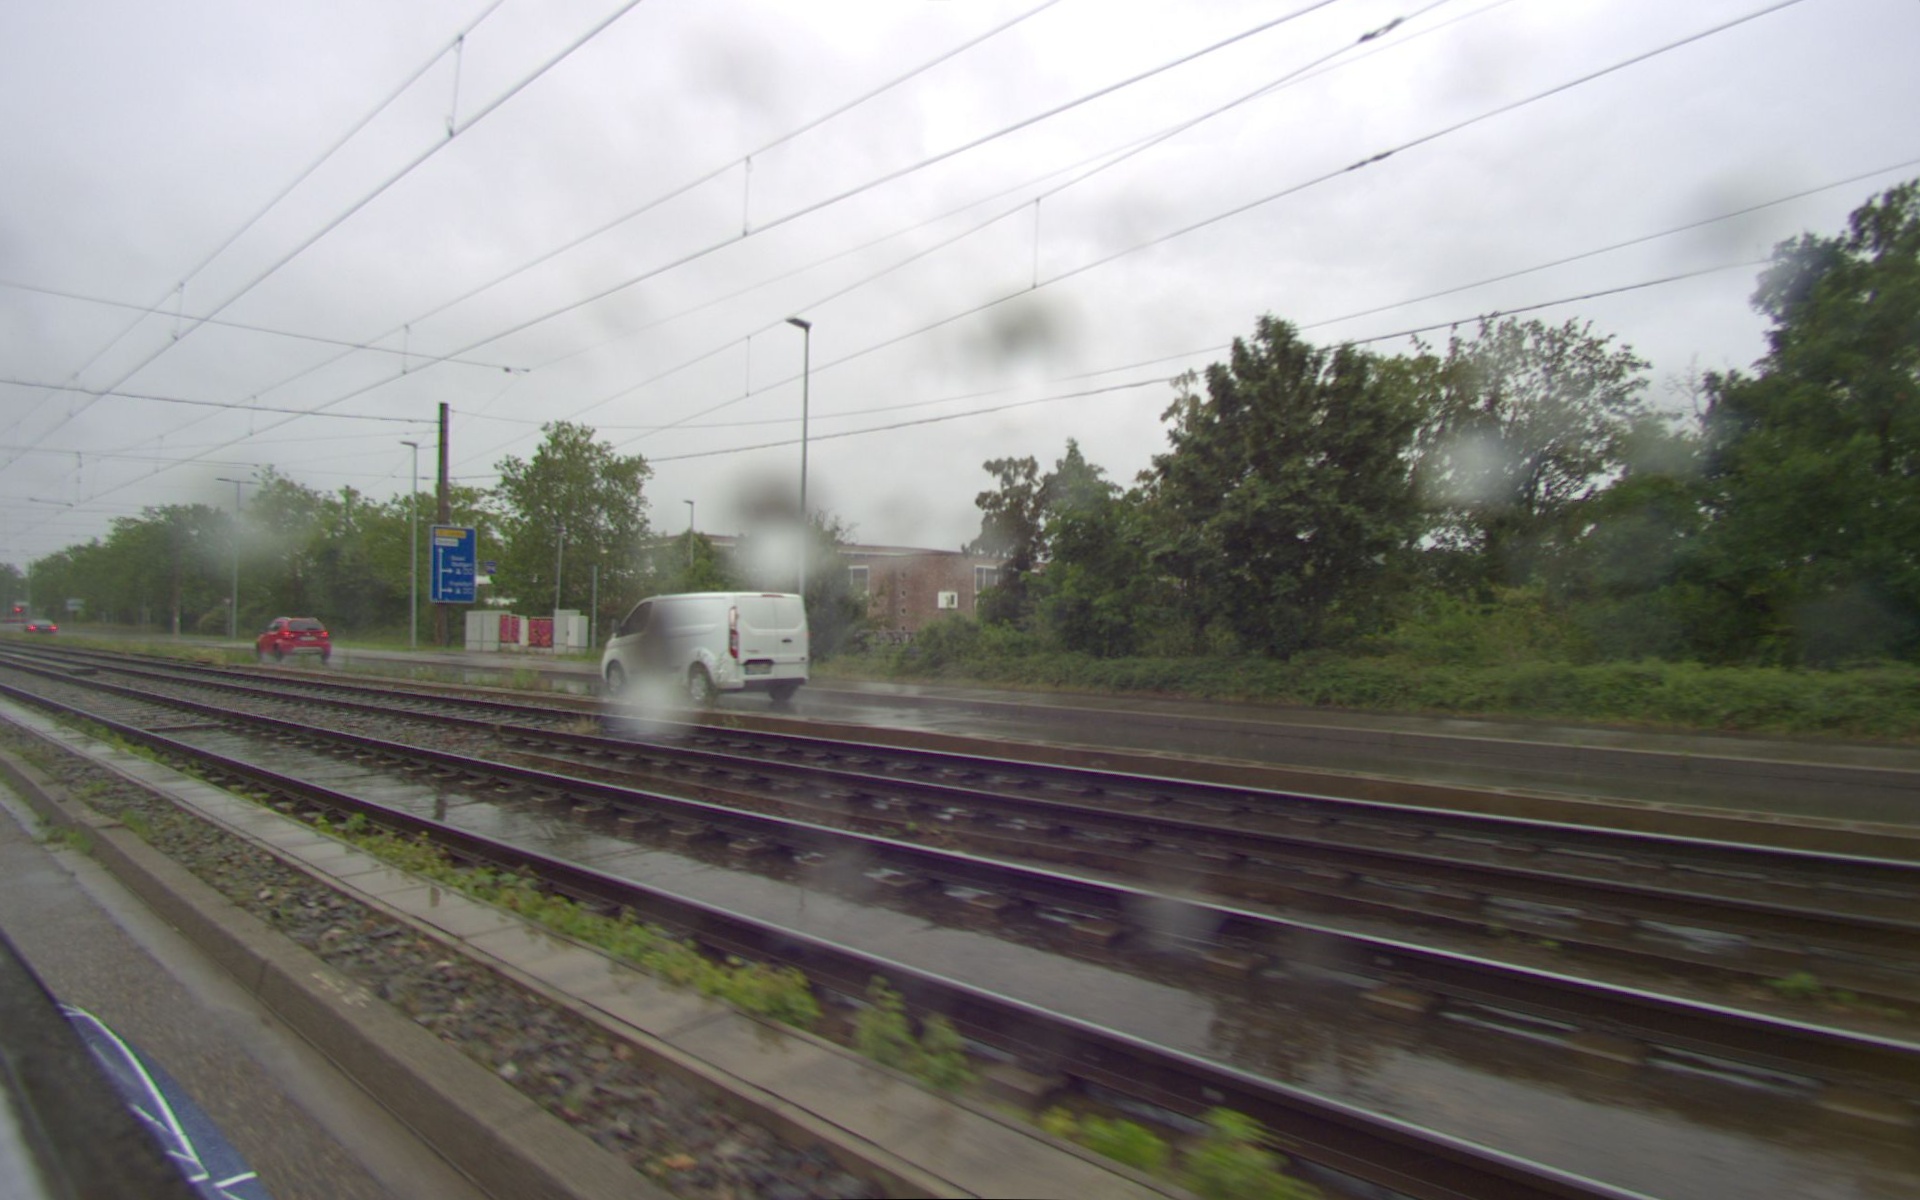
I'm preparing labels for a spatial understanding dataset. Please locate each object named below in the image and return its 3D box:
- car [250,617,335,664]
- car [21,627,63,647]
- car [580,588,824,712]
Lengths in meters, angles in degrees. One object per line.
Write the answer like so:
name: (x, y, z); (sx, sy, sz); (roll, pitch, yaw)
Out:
car: (-24.809, 1.464, 37.555); (3.649, 1.613, 1.706); (-1, 0, 41)
car: (-77.351, 3.100, 85.216); (4.953, 1.534, 1.973); (-1, 0, 40)
car: (-5.026, 0.872, 19.287); (5.025, 2.059, 1.973); (-1, 0, 41)
